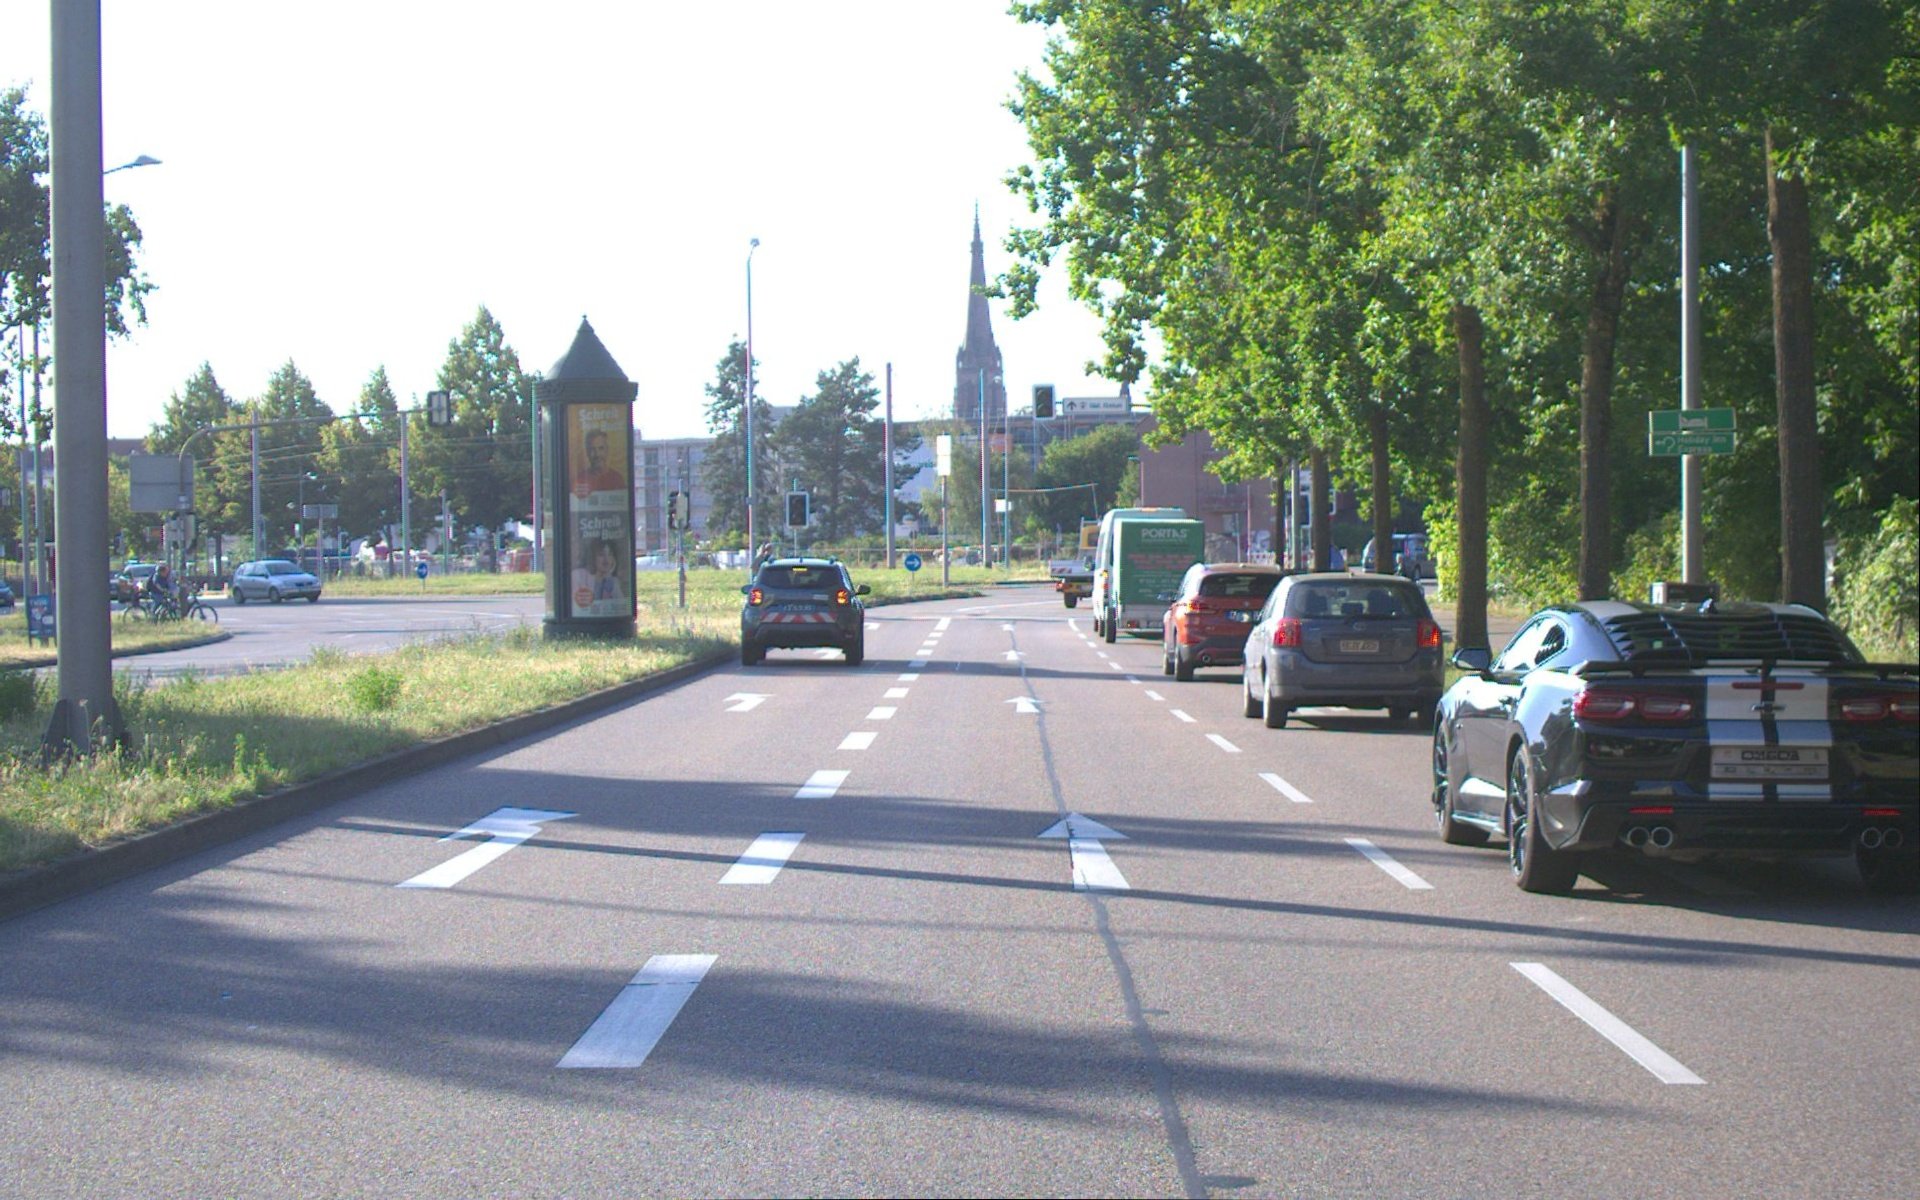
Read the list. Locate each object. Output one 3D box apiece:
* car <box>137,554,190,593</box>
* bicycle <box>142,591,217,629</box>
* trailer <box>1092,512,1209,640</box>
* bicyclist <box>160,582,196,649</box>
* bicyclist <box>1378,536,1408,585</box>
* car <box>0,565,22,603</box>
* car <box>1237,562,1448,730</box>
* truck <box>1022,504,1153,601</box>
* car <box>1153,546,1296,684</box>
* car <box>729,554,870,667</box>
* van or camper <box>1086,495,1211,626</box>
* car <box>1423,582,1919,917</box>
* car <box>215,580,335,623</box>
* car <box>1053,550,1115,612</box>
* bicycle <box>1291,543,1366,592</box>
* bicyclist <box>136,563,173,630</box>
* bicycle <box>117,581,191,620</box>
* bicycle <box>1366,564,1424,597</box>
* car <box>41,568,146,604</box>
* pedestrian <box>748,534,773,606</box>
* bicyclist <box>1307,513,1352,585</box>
[{"bbox_3d":[-30.371,-1.024,131.018,1.902,1.439,4.141,-1,1,-13],"label":"car"},{"bbox_3d":[-20.937,0.267,92.186,1.909,1.016,0.504,0,1,8],"label":"bicycle"},{"bbox_3d":[3.662,-0.490,66.569,2.090,2.392,3.501,1,1,1],"label":"trailer"},{"bbox_3d":[-20.968,0.404,92.198,0.813,1.782,0.496,1,1,9],"label":"bicyclist"},{"bbox_3d":[11.744,-1.073,93.214,0.648,1.290,0.466,-2,2,-17],"label":"bicyclist"},{"bbox_3d":[-38.463,-0.569,134.860,1.668,1.436,3.614,-2,2,12],"label":"car"},{"bbox_3d":[3.675,0.406,33.550,1.747,1.468,3.820,-1,1,2],"label":"car"},{"bbox_3d":[3.563,-1.353,94.825,2.581,2.549,6.249,-1,1,12],"label":"truck"},{"bbox_3d":[3.621,0.167,47.546,1.747,1.615,3.820,1,4,1],"label":"car"},{"bbox_3d":[-2.449,0.135,53.371,1.905,1.654,4.000,-1,1,1],"label":"car"},{"bbox_3d":[3.929,-0.870,72.692,2.284,2.620,6.583,0,1,0],"label":"van or camper"},{"bbox_3d":[3.462,0.623,16.931,1.854,1.333,4.625,0,1,2],"label":"car"},{"bbox_3d":[-23.705,0.055,118.909,3.753,1.429,1.833,0,1,29],"label":"car"},{"bbox_3d":[3.362,-0.534,93.566,1.602,1.604,4.000,-1,1,1],"label":"car"},{"bbox_3d":[9.864,-0.872,92.079,1.908,1.240,0.608,-2,1,37],"label":"bicycle"},{"bbox_3d":[-21.307,-0.093,90.909,0.813,1.764,0.496,1,1,16],"label":"bicyclist"},{"bbox_3d":[-21.316,0.019,90.879,1.910,1.016,0.504,1,1,16],"label":"bicycle"},{"bbox_3d":[11.785,-0.531,93.217,1.459,0.783,0.440,-4,3,-14],"label":"bicycle"},{"bbox_3d":[-36.688,-0.610,145.539,4.140,1.371,1.670,-1,2,24],"label":"car"},{"bbox_3d":[-5.127,-0.778,88.433,0.486,1.837,0.719,-1,0,5],"label":"pedestrian"},{"bbox_3d":[9.890,-1.366,92.041,0.938,1.892,0.600,-2,1,37],"label":"bicyclist"}]
